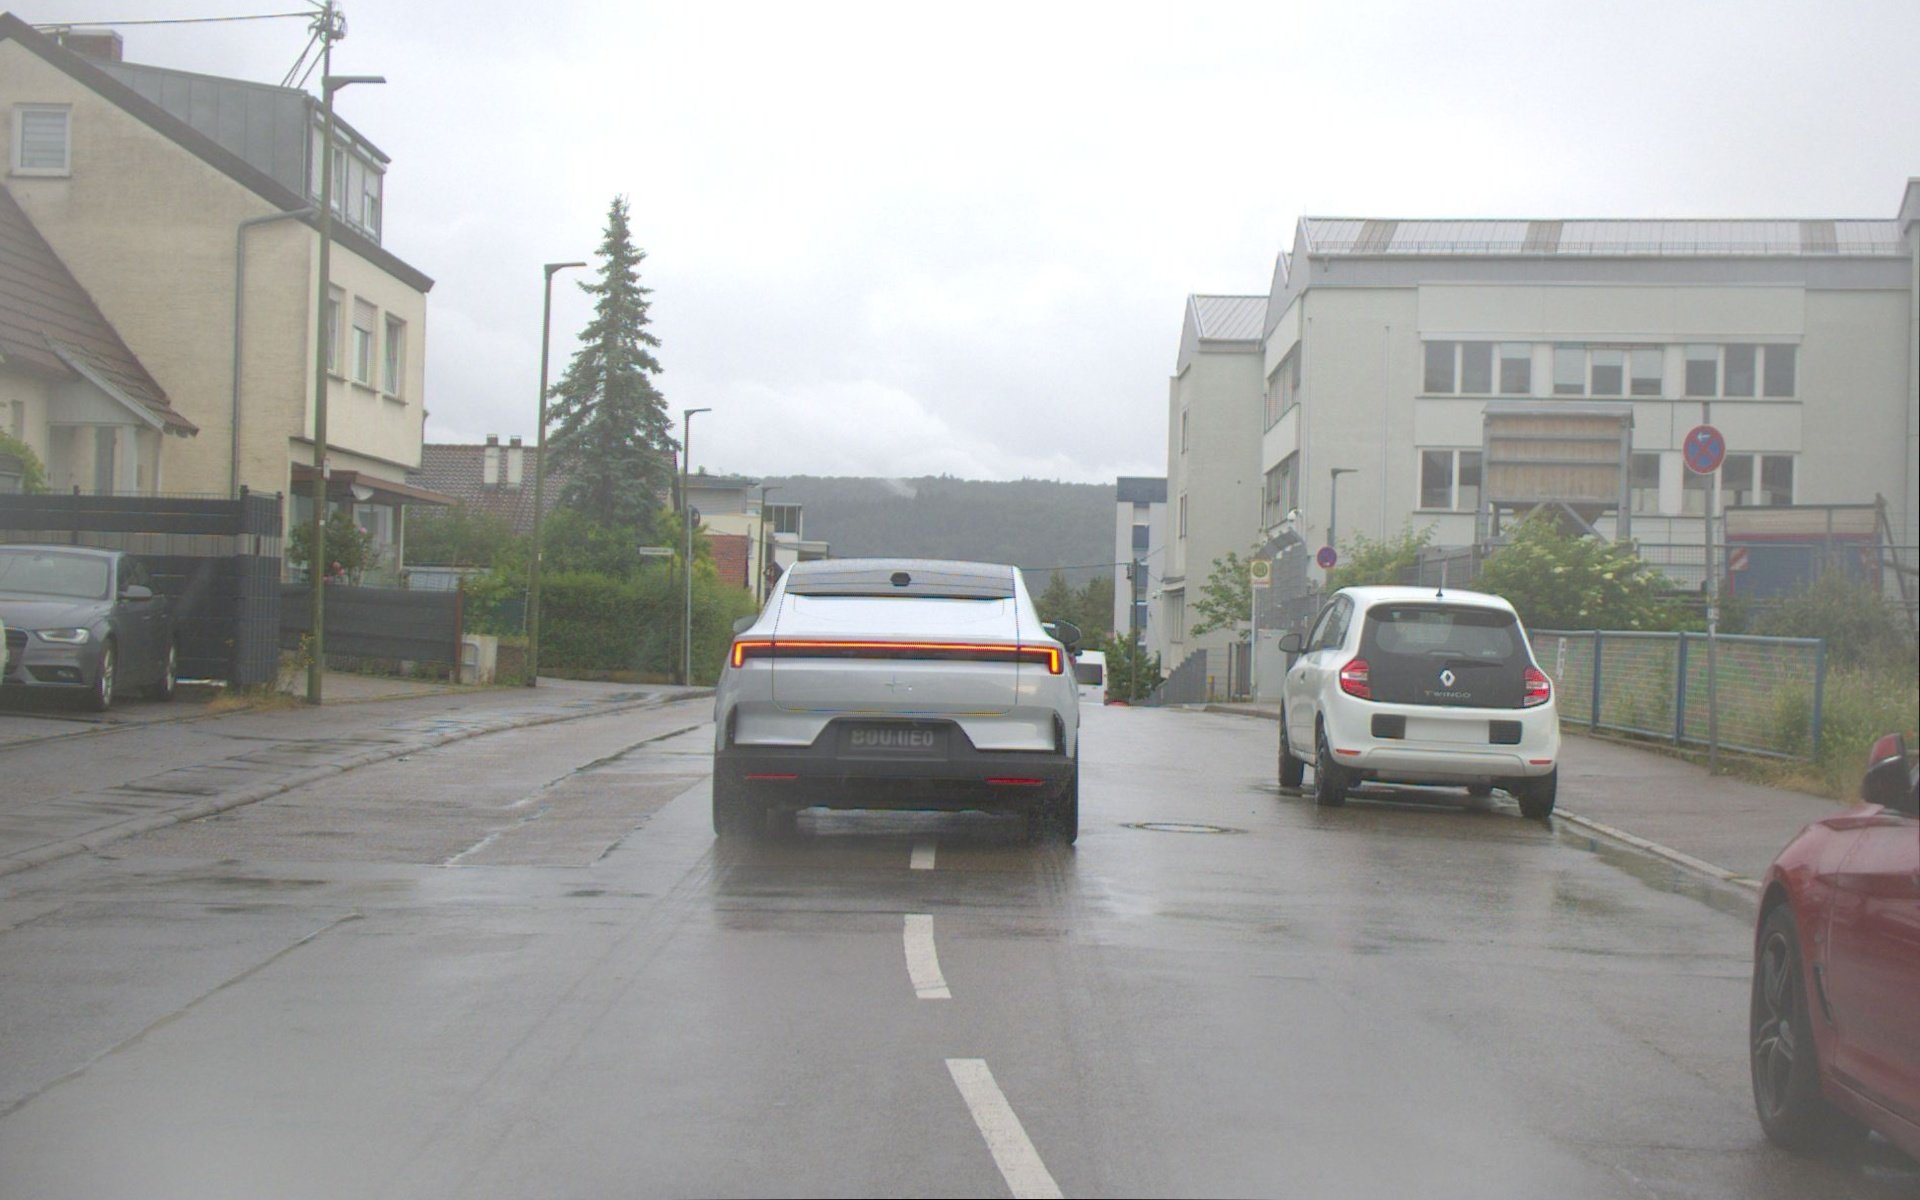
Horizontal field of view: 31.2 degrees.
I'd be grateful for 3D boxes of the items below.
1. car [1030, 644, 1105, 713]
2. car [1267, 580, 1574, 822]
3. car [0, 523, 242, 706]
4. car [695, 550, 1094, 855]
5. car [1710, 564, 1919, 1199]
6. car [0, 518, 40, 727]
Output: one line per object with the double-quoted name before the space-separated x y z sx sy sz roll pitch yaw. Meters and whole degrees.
"car" 3.303 2.449 106.404 1.993 2.007 4.000 1 -3 -3
"car" 3.275 0.670 25.060 1.681 1.552 3.674 3 0 0
"car" -7.686 0.079 30.456 1.826 1.364 4.570 5 0 -3
"car" -0.414 0.493 19.923 1.993 1.497 4.670 2 1 -2
"car" 2.936 0.747 7.546 1.642 1.569 4.643 3 1 2
"car" -7.903 0.097 23.088 1.993 1.505 4.895 5 0 0
